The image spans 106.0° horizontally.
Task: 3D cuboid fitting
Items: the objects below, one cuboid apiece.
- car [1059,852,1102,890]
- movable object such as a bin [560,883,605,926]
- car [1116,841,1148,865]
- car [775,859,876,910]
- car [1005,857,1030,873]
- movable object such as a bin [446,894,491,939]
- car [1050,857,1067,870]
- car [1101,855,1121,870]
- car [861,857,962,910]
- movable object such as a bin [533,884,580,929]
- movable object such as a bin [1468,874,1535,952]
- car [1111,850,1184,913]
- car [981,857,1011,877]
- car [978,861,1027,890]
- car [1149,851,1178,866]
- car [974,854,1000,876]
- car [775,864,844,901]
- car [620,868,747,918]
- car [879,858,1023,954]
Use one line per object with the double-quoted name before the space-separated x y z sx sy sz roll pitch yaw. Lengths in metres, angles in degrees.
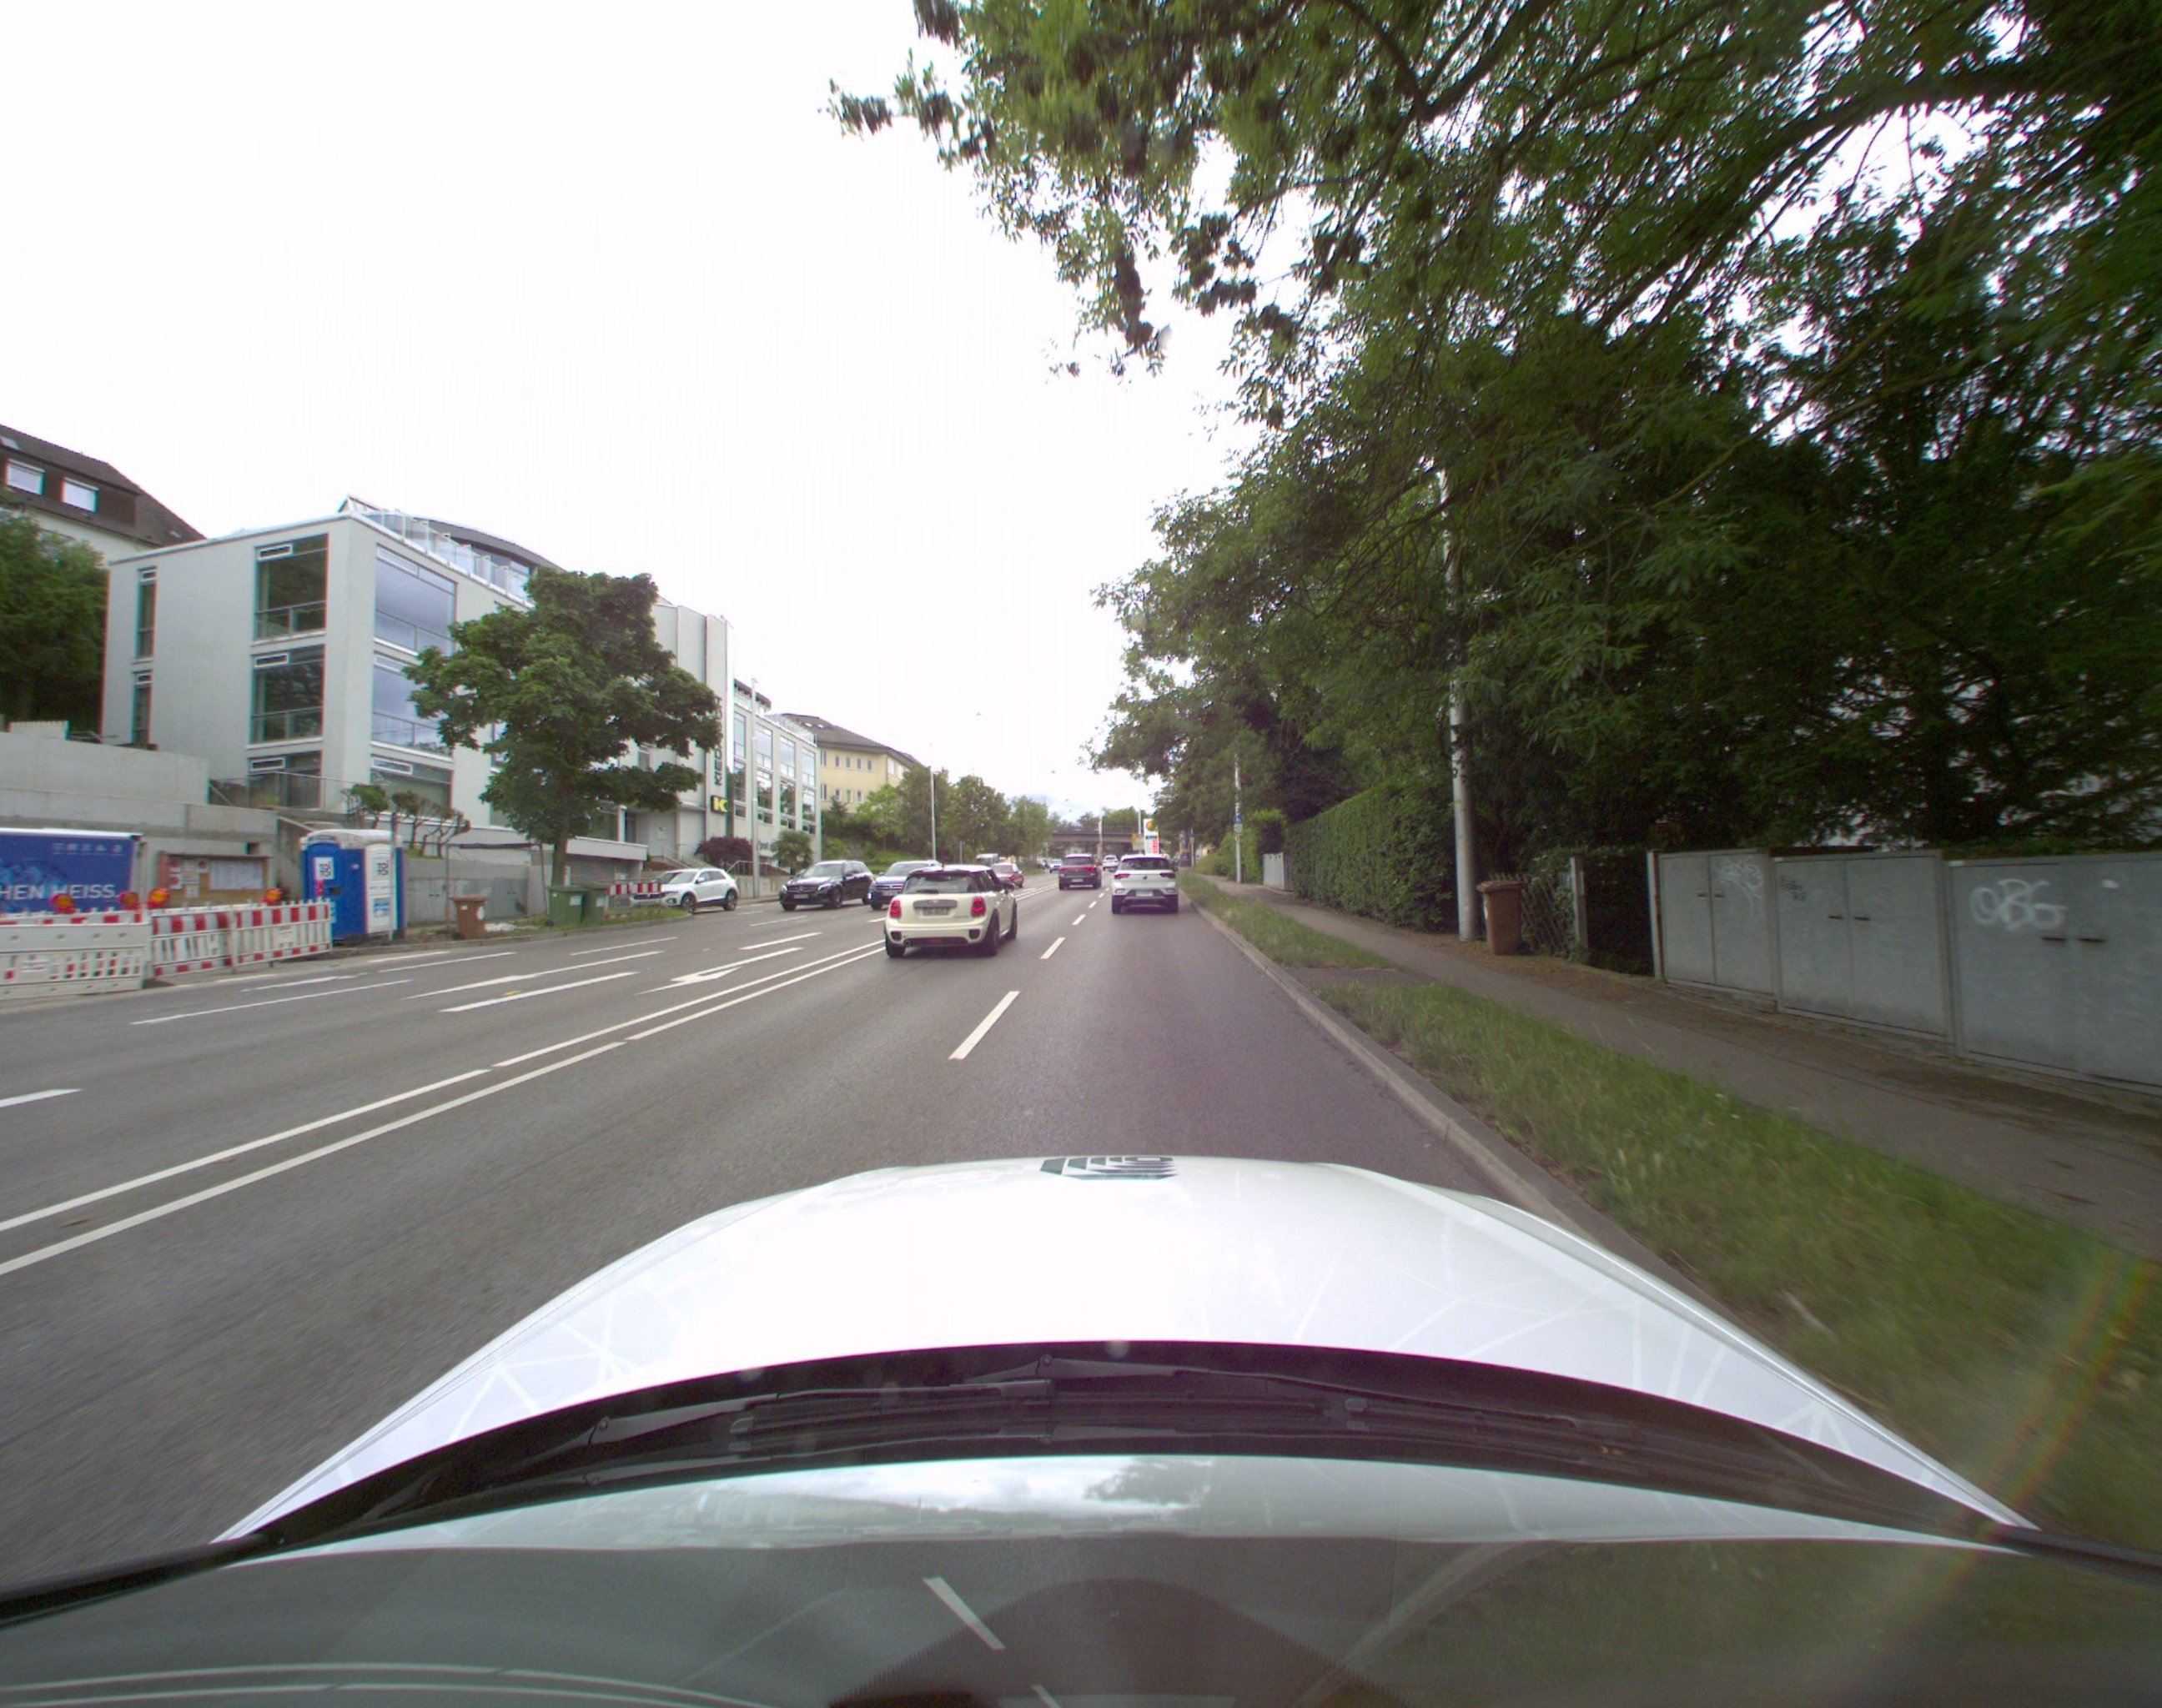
"car" 0.017 0.789 39.119 1.805 1.652 4.639 -2 0 2
"movable object such as a bin" -12.149 1.221 19.867 0.641 0.990 0.662 -1 -1 12
"car" 3.410 -0.038 55.166 1.867 1.501 4.555 2 -1 1
"car" -8.770 1.005 28.367 1.761 1.634 4.150 -1 0 7
"car" -6.486 1.111 83.791 2.061 1.580 4.693 -1 0 1
"movable object such as a bin" -12.816 1.295 17.061 0.662 0.879 0.641 0 -1 -28
"car" -2.740 1.190 99.238 1.892 1.542 4.687 -1 0 -3
"car" 3.401 0.972 93.611 1.854 1.652 4.631 -2 0 -3
"car" -5.615 0.918 27.753 1.761 1.596 5.193 -1 0 7
"movable object such as a bin" -12.386 1.226 19.227 0.641 1.015 0.662 -1 -1 12
"movable object such as a bin" 5.368 0.739 10.418 0.553 0.947 0.567 -1 -1 0
"car" 1.775 0.708 22.648 1.805 1.539 3.691 -2 0 2
"car" -7.704 1.165 74.153 2.061 1.656 4.693 -1 0 1
"car" -3.973 1.067 42.005 1.733 1.352 4.851 -1 0 4
"car" 9.251 0.499 91.029 1.841 1.500 4.080 -2 0 26
"car" -10.015 1.157 87.401 2.061 2.306 5.465 -1 0 1
"car" -13.048 1.319 39.342 1.763 1.634 3.919 -1 0 3
"car" -13.249 1.248 27.450 1.761 1.499 4.313 -1 0 7
"car" -2.079 0.785 13.940 1.620 1.393 3.570 -2 0 4
